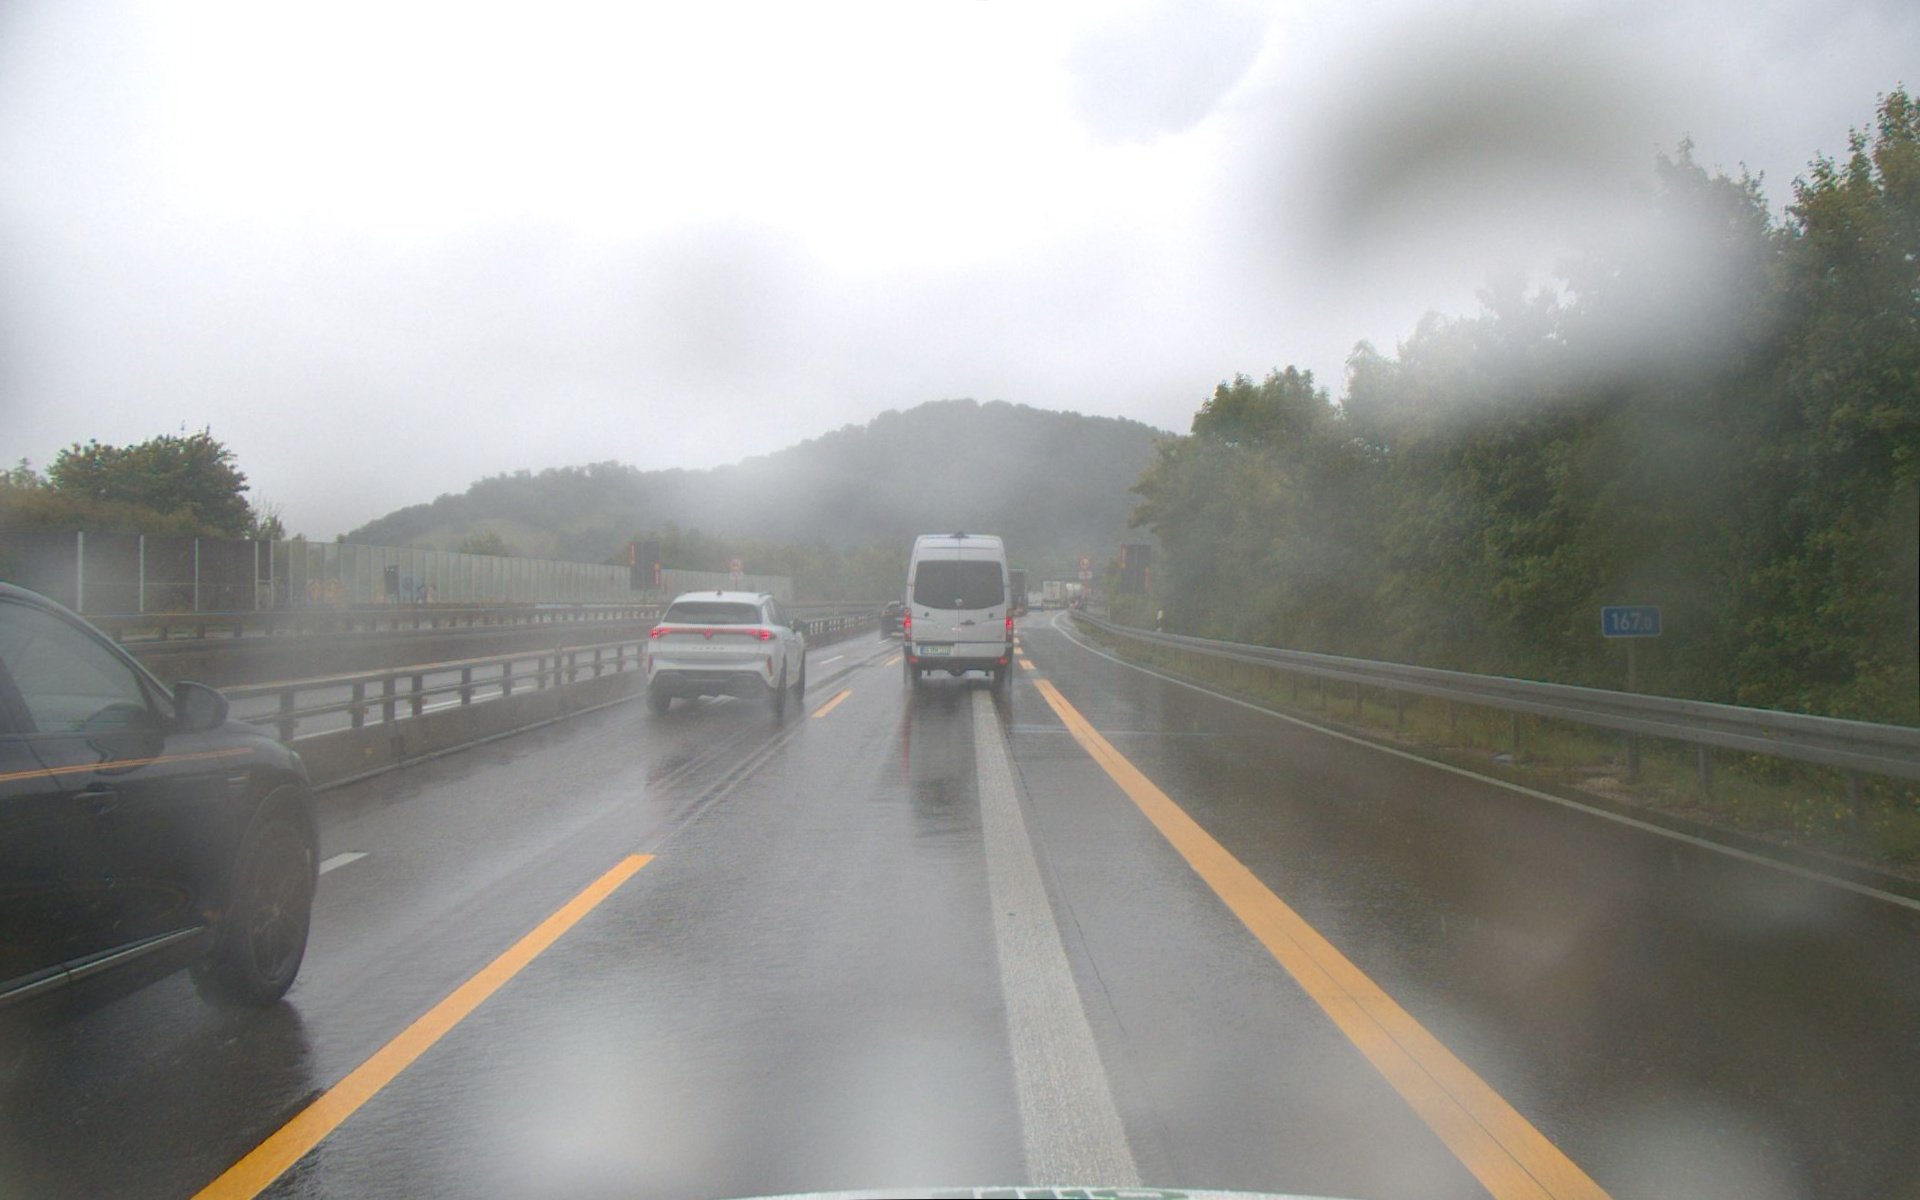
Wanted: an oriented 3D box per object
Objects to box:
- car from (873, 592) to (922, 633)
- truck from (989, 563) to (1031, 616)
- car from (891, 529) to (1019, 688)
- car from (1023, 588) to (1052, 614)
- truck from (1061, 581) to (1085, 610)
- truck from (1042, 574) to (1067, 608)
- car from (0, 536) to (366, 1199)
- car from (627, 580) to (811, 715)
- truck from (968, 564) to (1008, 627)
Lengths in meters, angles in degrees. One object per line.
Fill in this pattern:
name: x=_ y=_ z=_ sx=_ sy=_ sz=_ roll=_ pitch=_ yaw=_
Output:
car: x=-2.513 y=0.494 z=67.211 sx=1.907 sy=1.588 sz=3.999 roll=1 pitch=0 yaw=-1
truck: x=4.542 y=-0.866 z=148.265 sx=3.507 sy=4.483 sz=9.626 roll=1 pitch=0 yaw=3
car: x=-0.138 y=0.161 z=30.478 sx=2.101 sy=2.616 sz=5.388 roll=1 pitch=0 yaw=-1
car: x=9.103 y=0.152 z=194.719 sx=2.837 sy=2.938 sz=6.416 roll=1 pitch=0 yaw=7
truck: x=18.070 y=-0.646 z=262.953 sx=2.836 sy=4.483 sz=9.631 roll=1 pitch=0 yaw=9
truck: x=13.231 y=-1.214 z=230.894 sx=2.972 sy=4.483 sz=9.630 roll=1 pitch=0 yaw=6
car: x=-3.297 y=0.632 z=4.306 sx=1.953 sy=1.613 sz=4.412 roll=1 pitch=0 yaw=-1
car: x=-3.237 y=0.608 z=23.132 sx=1.953 sy=1.646 sz=4.794 roll=1 pitch=0 yaw=-2
truck: x=1.567 y=-0.181 z=88.367 sx=1.952 sy=3.163 sz=8.500 roll=1 pitch=0 yaw=2
